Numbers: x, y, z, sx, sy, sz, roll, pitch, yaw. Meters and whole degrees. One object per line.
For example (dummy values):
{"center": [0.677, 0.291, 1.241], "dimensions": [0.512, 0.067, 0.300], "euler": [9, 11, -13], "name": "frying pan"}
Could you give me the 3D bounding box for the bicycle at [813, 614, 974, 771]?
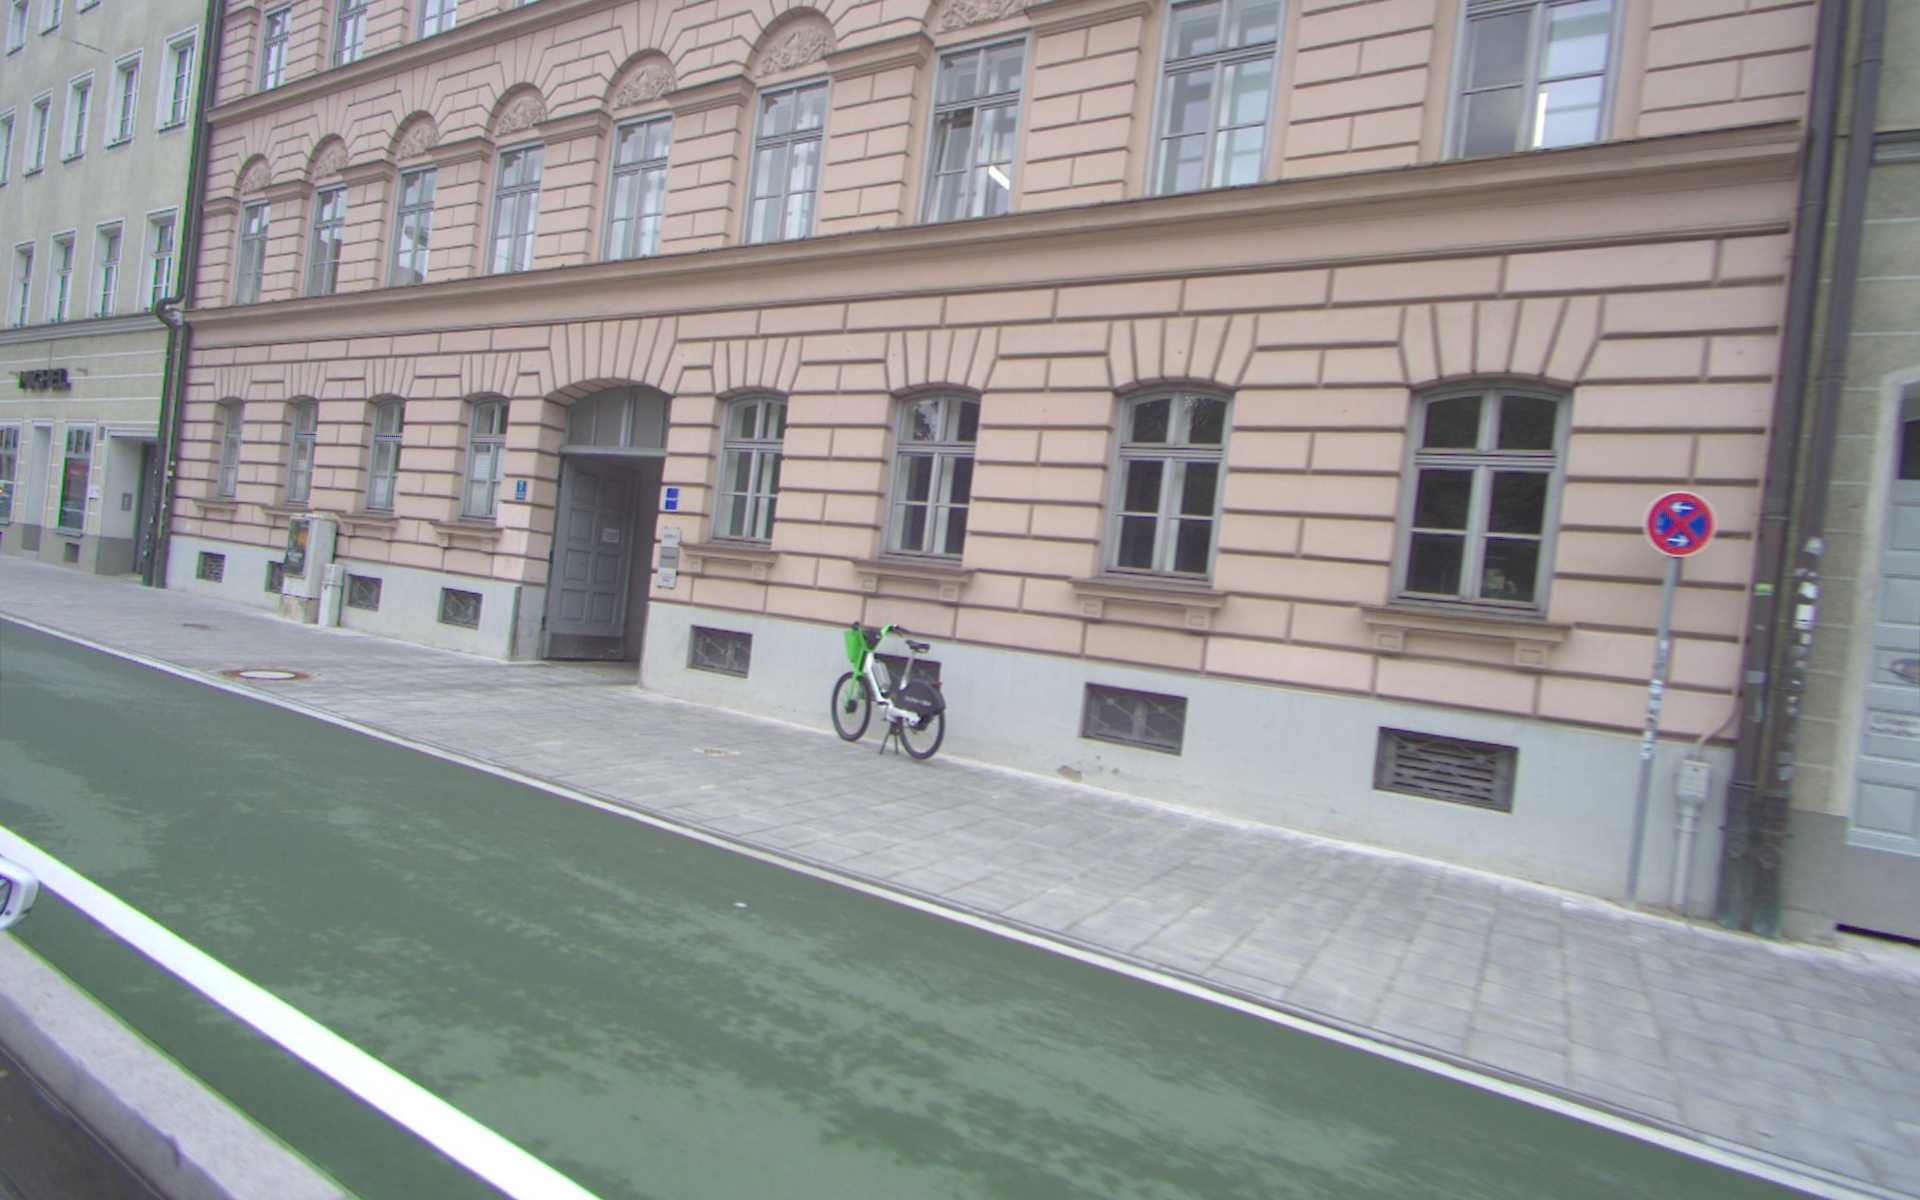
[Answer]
{"center": [-0.657, 0.814, 9.305], "dimensions": [0.424, 1.189, 1.711], "euler": [5, 1, -41], "name": "bicycle"}
